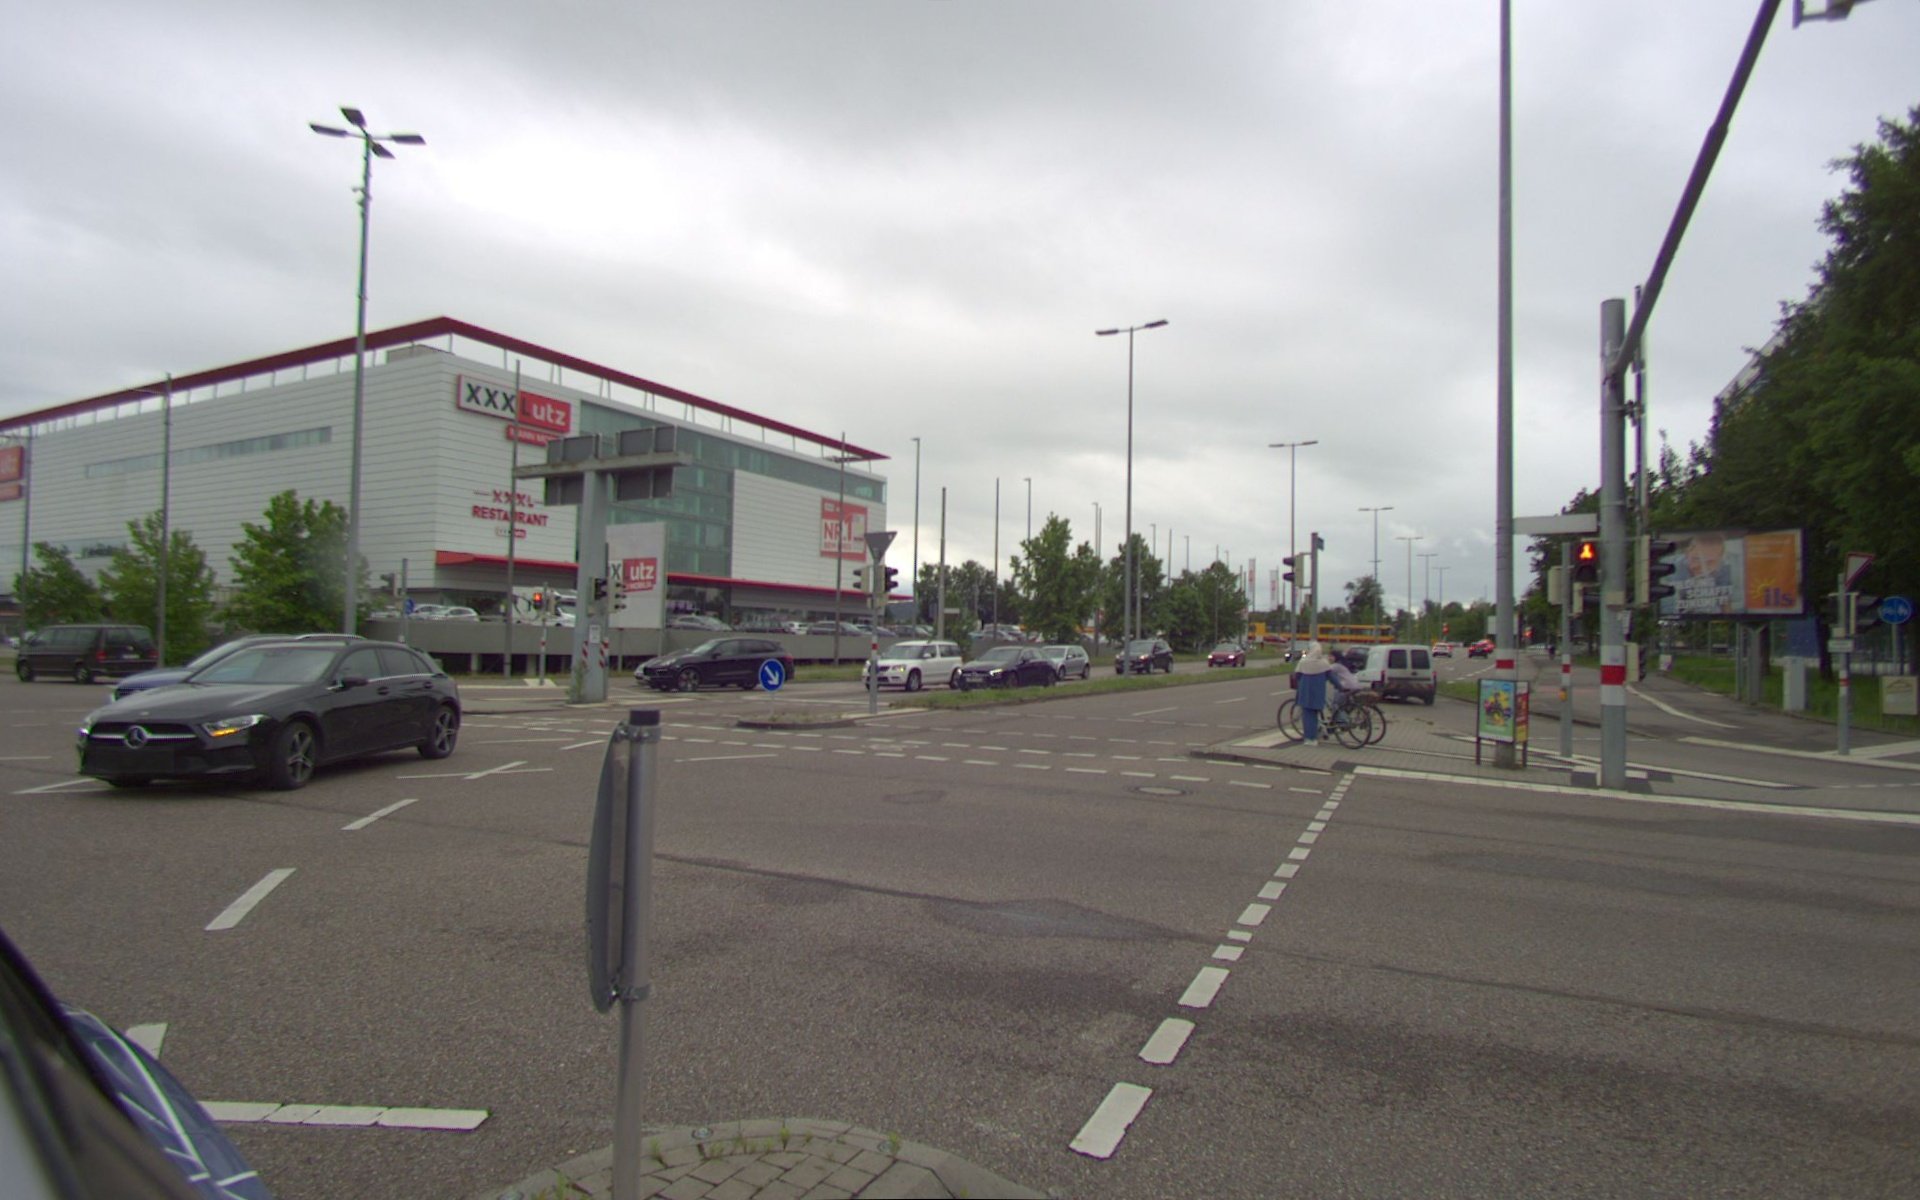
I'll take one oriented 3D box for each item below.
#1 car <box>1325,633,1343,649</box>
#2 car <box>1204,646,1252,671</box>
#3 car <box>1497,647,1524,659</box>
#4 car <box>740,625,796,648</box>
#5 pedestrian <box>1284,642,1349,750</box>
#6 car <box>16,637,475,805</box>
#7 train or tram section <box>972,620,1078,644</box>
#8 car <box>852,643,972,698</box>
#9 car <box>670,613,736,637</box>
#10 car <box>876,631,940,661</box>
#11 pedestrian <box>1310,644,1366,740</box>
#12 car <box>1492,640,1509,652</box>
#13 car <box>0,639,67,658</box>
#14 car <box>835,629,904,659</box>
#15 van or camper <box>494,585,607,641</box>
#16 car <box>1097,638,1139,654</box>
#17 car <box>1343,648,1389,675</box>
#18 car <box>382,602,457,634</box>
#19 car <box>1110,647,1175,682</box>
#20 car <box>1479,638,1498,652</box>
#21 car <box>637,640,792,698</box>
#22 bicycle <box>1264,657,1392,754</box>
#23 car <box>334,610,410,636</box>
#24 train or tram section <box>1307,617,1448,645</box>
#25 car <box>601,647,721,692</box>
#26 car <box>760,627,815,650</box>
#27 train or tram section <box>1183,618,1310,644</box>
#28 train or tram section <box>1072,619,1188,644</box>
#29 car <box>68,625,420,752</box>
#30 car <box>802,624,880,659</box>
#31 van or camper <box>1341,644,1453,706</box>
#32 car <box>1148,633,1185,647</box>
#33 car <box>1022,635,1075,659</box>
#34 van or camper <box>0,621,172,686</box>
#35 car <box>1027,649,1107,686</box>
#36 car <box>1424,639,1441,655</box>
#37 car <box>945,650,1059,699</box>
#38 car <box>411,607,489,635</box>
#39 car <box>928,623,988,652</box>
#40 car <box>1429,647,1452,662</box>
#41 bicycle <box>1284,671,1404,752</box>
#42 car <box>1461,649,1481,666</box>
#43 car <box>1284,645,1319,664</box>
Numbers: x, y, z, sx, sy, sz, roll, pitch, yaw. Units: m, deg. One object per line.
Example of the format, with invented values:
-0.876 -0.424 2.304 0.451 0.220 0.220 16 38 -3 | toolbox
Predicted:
53.649 5.921 145.044 1.991 2.260 3.962 0 -3 28 | car
16.958 3.673 63.909 1.796 1.426 4.174 -2 -3 31 | car
91.480 8.764 168.211 3.909 1.900 1.830 -1 0 30 | car
-15.040 2.882 79.179 3.982 1.752 1.981 -2 -3 29 | car
5.629 1.498 15.984 0.630 1.639 0.694 4 -2 -35 | pedestrian
-7.217 1.178 10.893 1.836 1.445 4.192 0 -3 3 | car
13.578 6.739 214.790 23.177 4.875 3.598 -1 -2 28 | train or tram section
-1.488 2.231 32.924 1.794 1.637 4.327 -2 -3 31 | car
-16.768 1.655 66.087 3.975 1.448 1.852 -2 -3 28 | car
-3.563 3.160 69.627 3.983 2.029 1.980 -2 -3 29 | car
6.434 1.541 17.230 0.643 1.560 0.651 0 -1 -36 | pedestrian
79.085 6.729 147.994 1.842 1.732 3.882 -3 -3 32 | car
-82.299 4.318 89.843 1.714 1.622 4.158 -2 -3 28 | car
-5.786 2.844 64.849 3.982 1.863 1.981 -2 -3 29 | car
-25.129 0.848 61.956 7.210 3.159 2.686 -2 -3 32 | van or camper
16.475 4.829 105.643 3.986 1.577 1.777 -2 -3 31 | car
22.132 3.356 55.092 1.721 1.382 3.956 0 -3 32 | car
-35.714 1.234 66.962 1.993 2.029 3.956 -2 -3 32 | car
9.071 3.144 50.031 1.796 1.586 4.174 -2 -3 31 | car
74.165 6.343 142.008 1.843 1.901 3.880 -2 -4 33 | car
-7.366 2.086 30.722 4.308 1.637 1.801 1 -4 -4 | car
5.936 1.668 16.416 0.587 1.407 1.939 4 -3 -35 | bicycle
-40.562 1.593 69.929 1.770 1.688 4.215 -2 -3 31 | car
74.713 5.621 181.905 23.177 4.875 3.598 -1 -2 28 | train or tram section
-10.173 2.352 34.692 1.688 1.382 3.888 -2 -3 29 | car
-13.903 3.099 81.568 3.982 1.752 1.981 -2 -3 29 | car
54.314 5.971 192.894 23.177 4.875 3.598 -1 -2 28 | train or tram section
33.930 6.302 203.845 23.177 4.875 3.598 -1 -2 28 | train or tram section
-10.540 1.248 15.377 1.828 1.634 4.317 -1 -3 11 | car
-7.332 2.574 62.330 4.512 2.029 1.981 -2 -3 29 | car
13.341 2.254 31.175 1.977 1.735 4.383 -1 -2 8 | van or camper
24.632 4.812 120.957 3.986 1.577 1.777 -2 -3 31 | car
7.991 4.265 91.685 4.308 2.029 1.980 -2 -3 29 | car
-29.305 1.790 33.852 4.900 2.029 2.152 0 -5 17 | van or camper
4.587 2.834 42.939 1.796 1.426 4.174 -2 -3 31 | car
65.543 6.542 140.274 1.991 2.237 3.962 0 -3 28 | car
1.393 2.287 31.728 1.762 1.389 4.214 -2 -3 31 | car
-32.633 1.371 64.866 1.770 1.688 4.215 -2 -3 31 | car
-0.144 2.805 75.550 3.983 2.029 1.980 -2 -3 29 | car
50.610 5.755 106.560 1.782 1.463 3.889 1 -2 32 | car
6.475 1.855 17.182 0.500 1.174 1.952 0 0 -36 | bicycle
55.122 6.161 109.182 1.840 1.668 4.319 2 -1 28 | car
27.327 4.335 80.821 1.796 1.426 4.174 -2 -3 31 | car
